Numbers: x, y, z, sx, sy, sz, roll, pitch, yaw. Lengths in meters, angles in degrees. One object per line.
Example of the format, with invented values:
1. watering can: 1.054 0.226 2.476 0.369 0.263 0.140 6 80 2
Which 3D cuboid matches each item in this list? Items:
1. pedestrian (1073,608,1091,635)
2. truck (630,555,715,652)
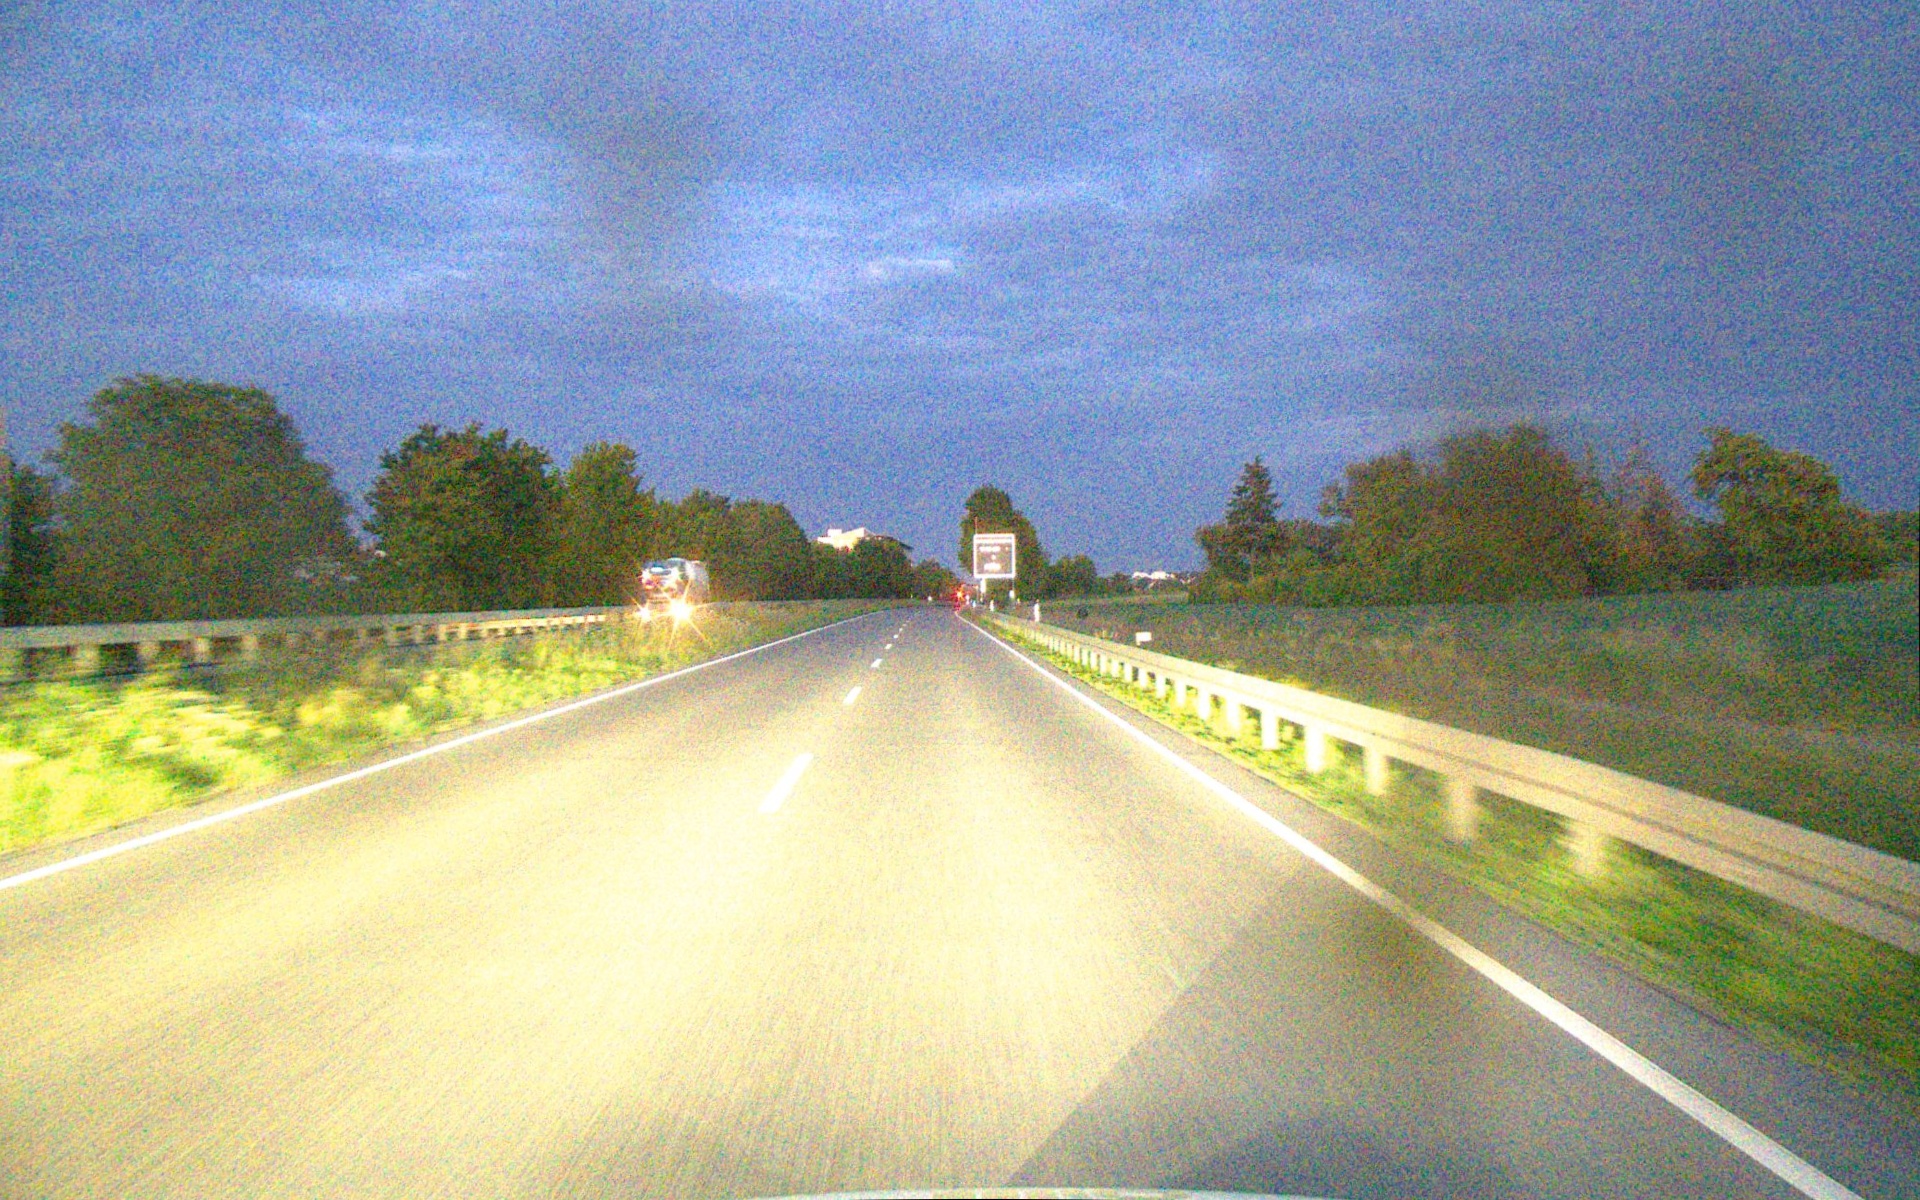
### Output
1. pedestrian: 7.632 1.344 103.683 1.040 1.672 1.118 0 0 -1
2. truck: -17.243 0.147 100.149 3.138 5.347 12.605 -2 0 -2
